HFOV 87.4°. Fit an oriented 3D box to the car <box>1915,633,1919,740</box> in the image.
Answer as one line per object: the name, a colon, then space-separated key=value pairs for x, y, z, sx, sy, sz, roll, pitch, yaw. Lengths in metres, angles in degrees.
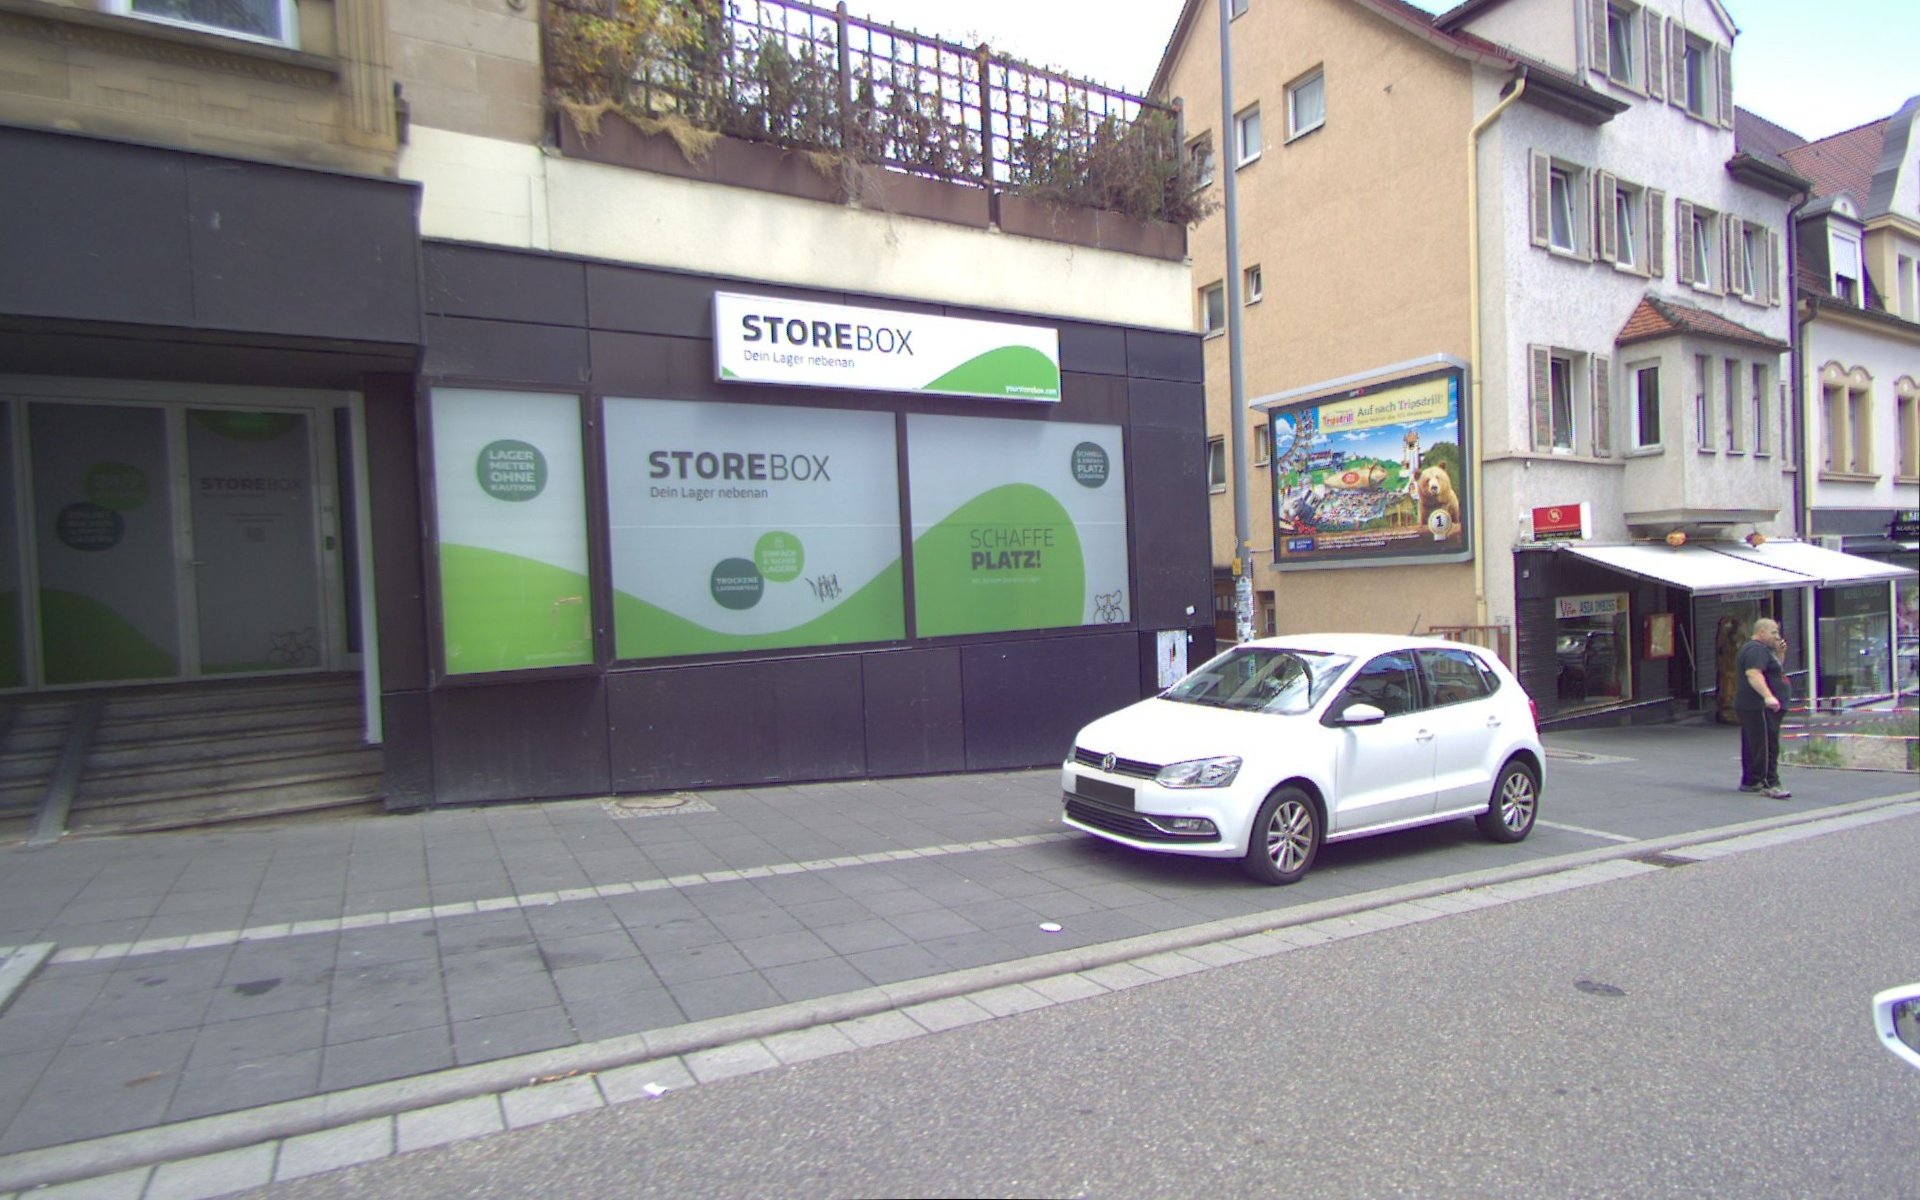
car: x=17.216 y=1.409 z=15.909 sx=4.588 sy=1.643 sz=1.916 roll=2 pitch=0 yaw=-32

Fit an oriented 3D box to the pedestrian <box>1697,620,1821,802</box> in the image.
pedestrian: x=7.893 y=1.048 z=9.927 sx=0.854 sy=1.694 sz=0.733 roll=1 pitch=-1 yaw=-33

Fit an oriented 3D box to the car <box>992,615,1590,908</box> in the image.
car: x=2.519 y=0.913 z=7.386 sx=4.214 sy=1.531 sz=1.916 roll=1 pitch=1 yaw=-32
